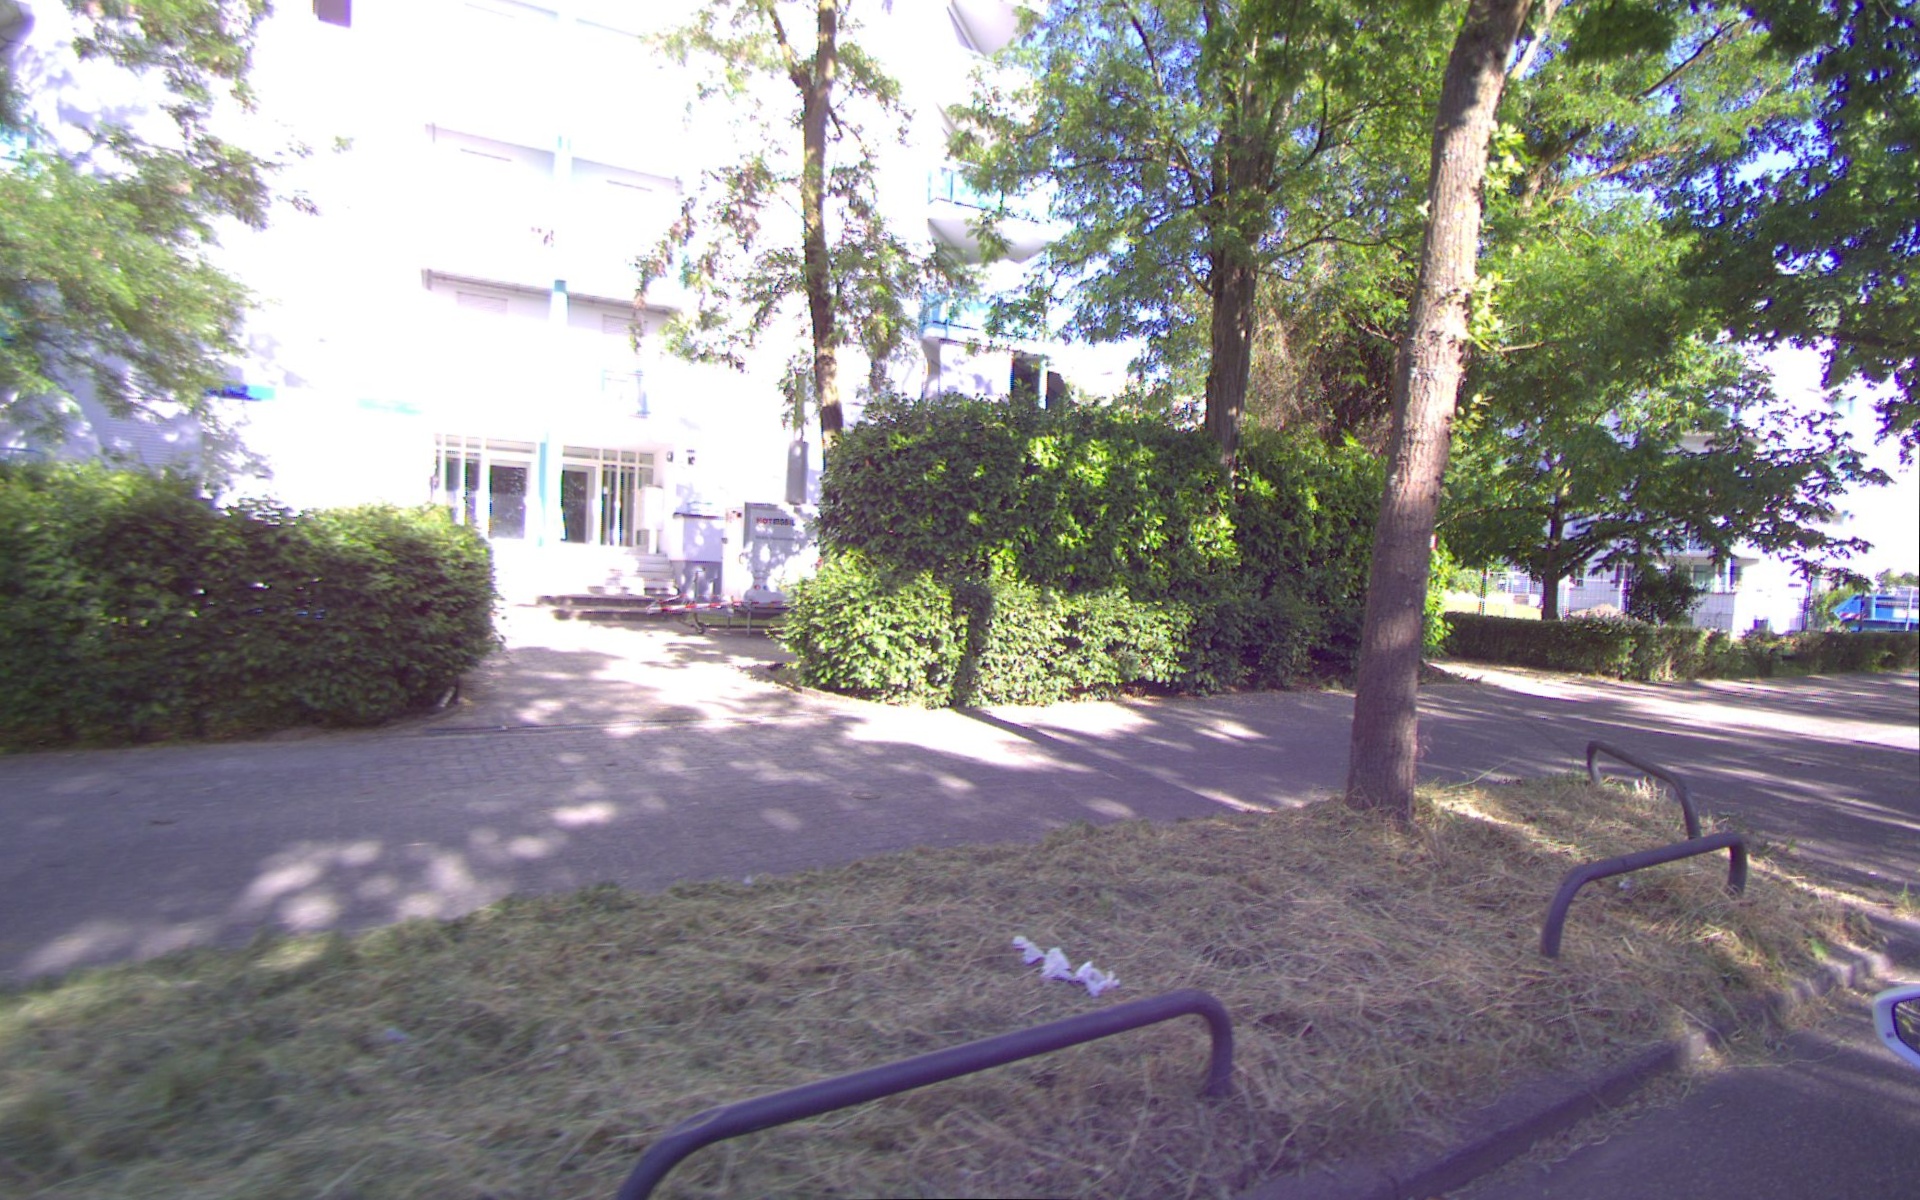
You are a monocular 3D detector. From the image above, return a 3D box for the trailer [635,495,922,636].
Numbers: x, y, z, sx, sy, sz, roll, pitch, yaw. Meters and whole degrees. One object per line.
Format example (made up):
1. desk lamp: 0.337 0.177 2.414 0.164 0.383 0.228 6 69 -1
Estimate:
1. trailer: -3.051 -0.519 16.922 4.370 2.070 1.970 2 2 -26
